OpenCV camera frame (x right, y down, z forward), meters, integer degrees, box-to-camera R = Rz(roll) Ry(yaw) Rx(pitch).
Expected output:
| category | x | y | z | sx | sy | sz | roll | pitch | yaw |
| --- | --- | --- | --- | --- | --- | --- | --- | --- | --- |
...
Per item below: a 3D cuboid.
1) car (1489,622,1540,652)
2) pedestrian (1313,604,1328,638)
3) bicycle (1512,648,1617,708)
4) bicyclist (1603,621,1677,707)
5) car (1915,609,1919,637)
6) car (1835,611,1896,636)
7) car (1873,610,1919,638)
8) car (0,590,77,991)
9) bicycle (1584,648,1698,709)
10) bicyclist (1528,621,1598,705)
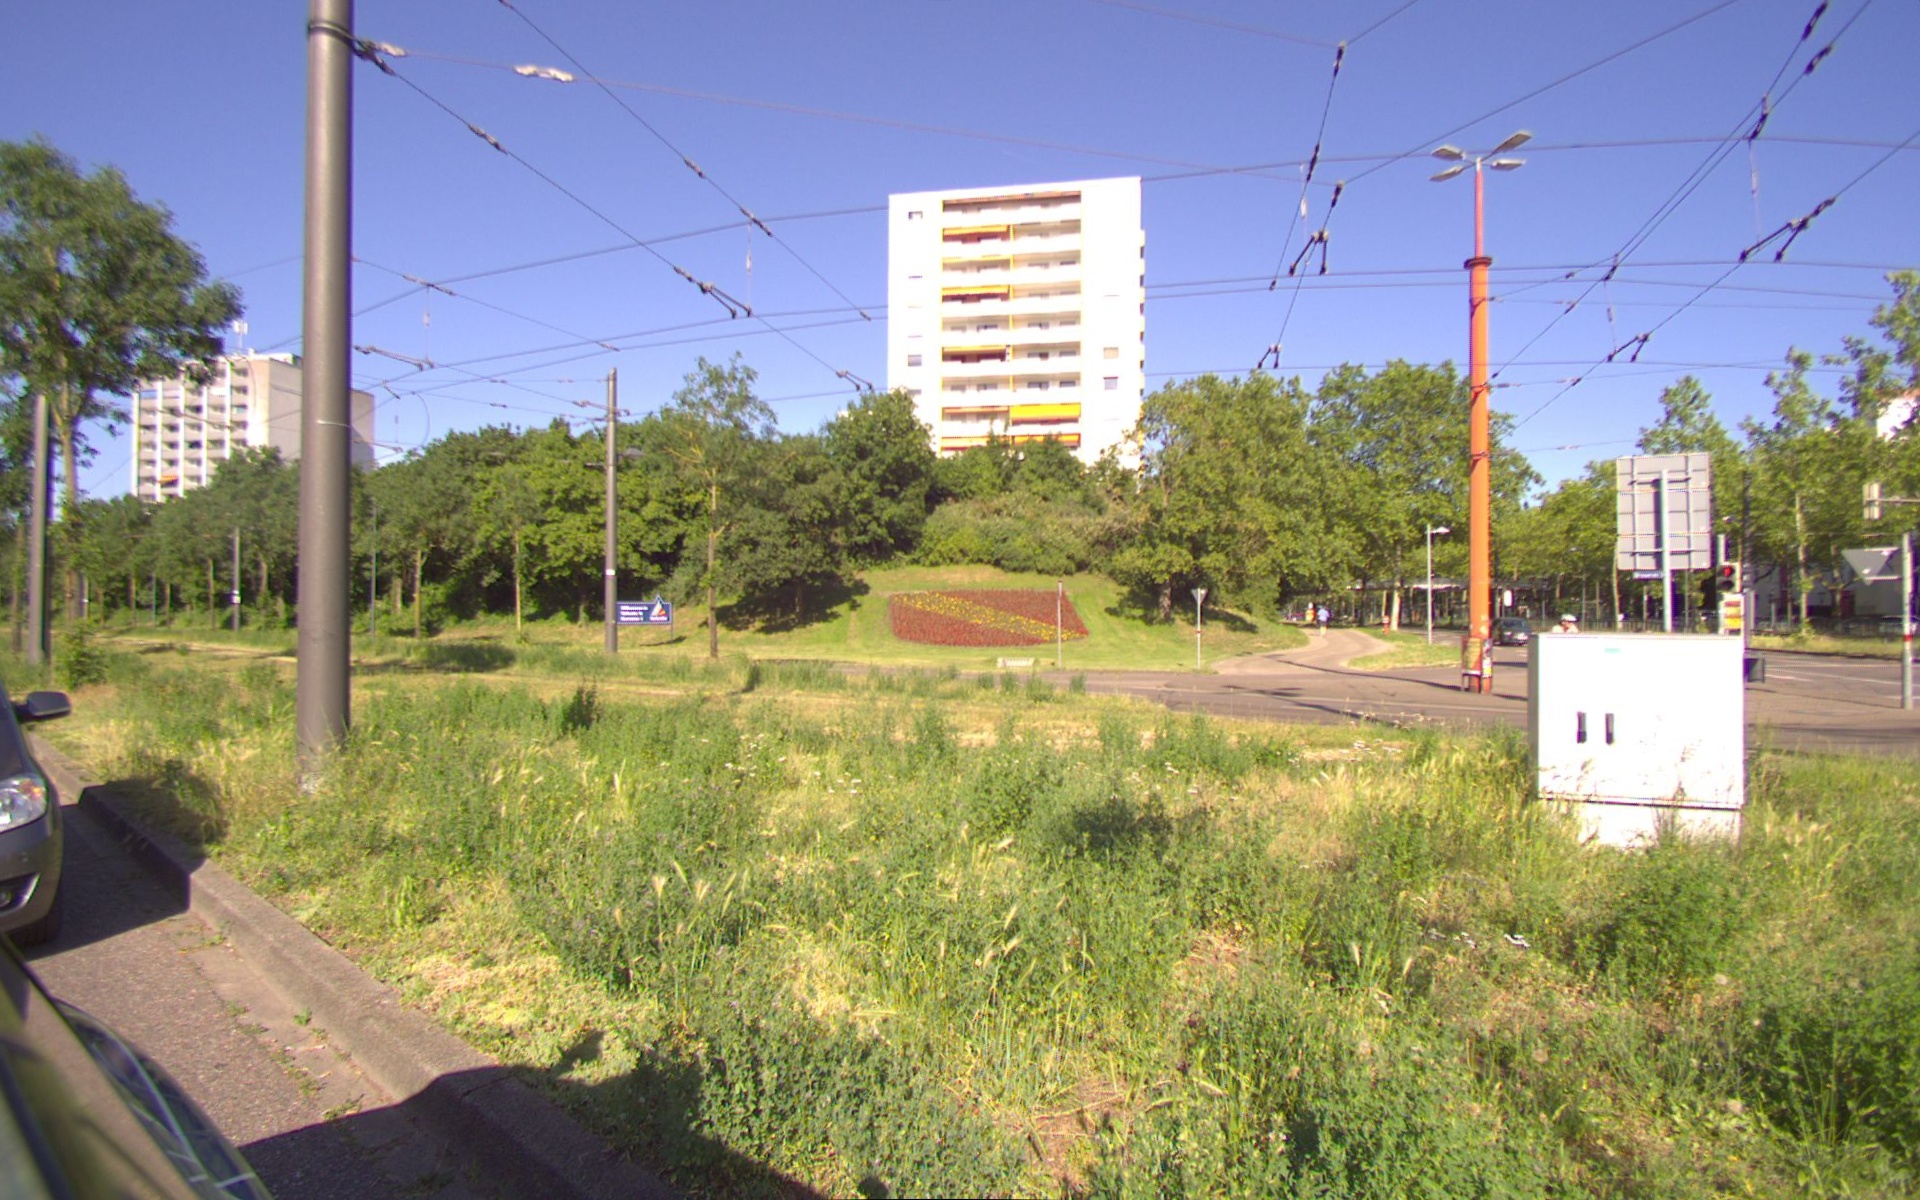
| category | x | y | z | sx | sy | sz | roll | pitch | yaw |
| --- | --- | --- | --- | --- | --- | --- | --- | --- | --- |
| car | 31.602 | 2.077 | 57.777 | 1.928 | 1.606 | 3.882 | -1 | -1 | 20 |
| pedestrian | 21.221 | 1.241 | 59.584 | 0.729 | 1.949 | 0.726 | -1 | -2 | 24 |
| bicycle | 12.084 | 1.533 | 20.318 | 0.915 | 1.095 | 1.888 | 0 | -1 | -2 |
| bicyclist | 13.346 | 1.238 | 19.882 | 0.920 | 1.650 | 0.741 | 0 | -1 | -1 |
| car | 64.397 | 1.506 | 65.905 | 3.931 | 1.829 | 2.006 | 1 | -2 | -27 |
| car | 66.006 | 1.701 | 73.764 | 3.931 | 1.829 | 2.006 | 1 | -2 | -27 |
| car | 65.239 | 1.644 | 69.868 | 3.931 | 1.829 | 2.006 | 1 | -2 | -27 |
| car | -5.947 | 0.794 | 5.041 | 4.382 | 1.619 | 1.754 | -1 | -2 | 41 |
| bicycle | 13.350 | 1.517 | 19.916 | 0.915 | 1.095 | 1.888 | 0 | -1 | -2 |
| bicyclist | 12.089 | 1.255 | 20.301 | 0.920 | 1.650 | 0.741 | 0 | -1 | -1 |
